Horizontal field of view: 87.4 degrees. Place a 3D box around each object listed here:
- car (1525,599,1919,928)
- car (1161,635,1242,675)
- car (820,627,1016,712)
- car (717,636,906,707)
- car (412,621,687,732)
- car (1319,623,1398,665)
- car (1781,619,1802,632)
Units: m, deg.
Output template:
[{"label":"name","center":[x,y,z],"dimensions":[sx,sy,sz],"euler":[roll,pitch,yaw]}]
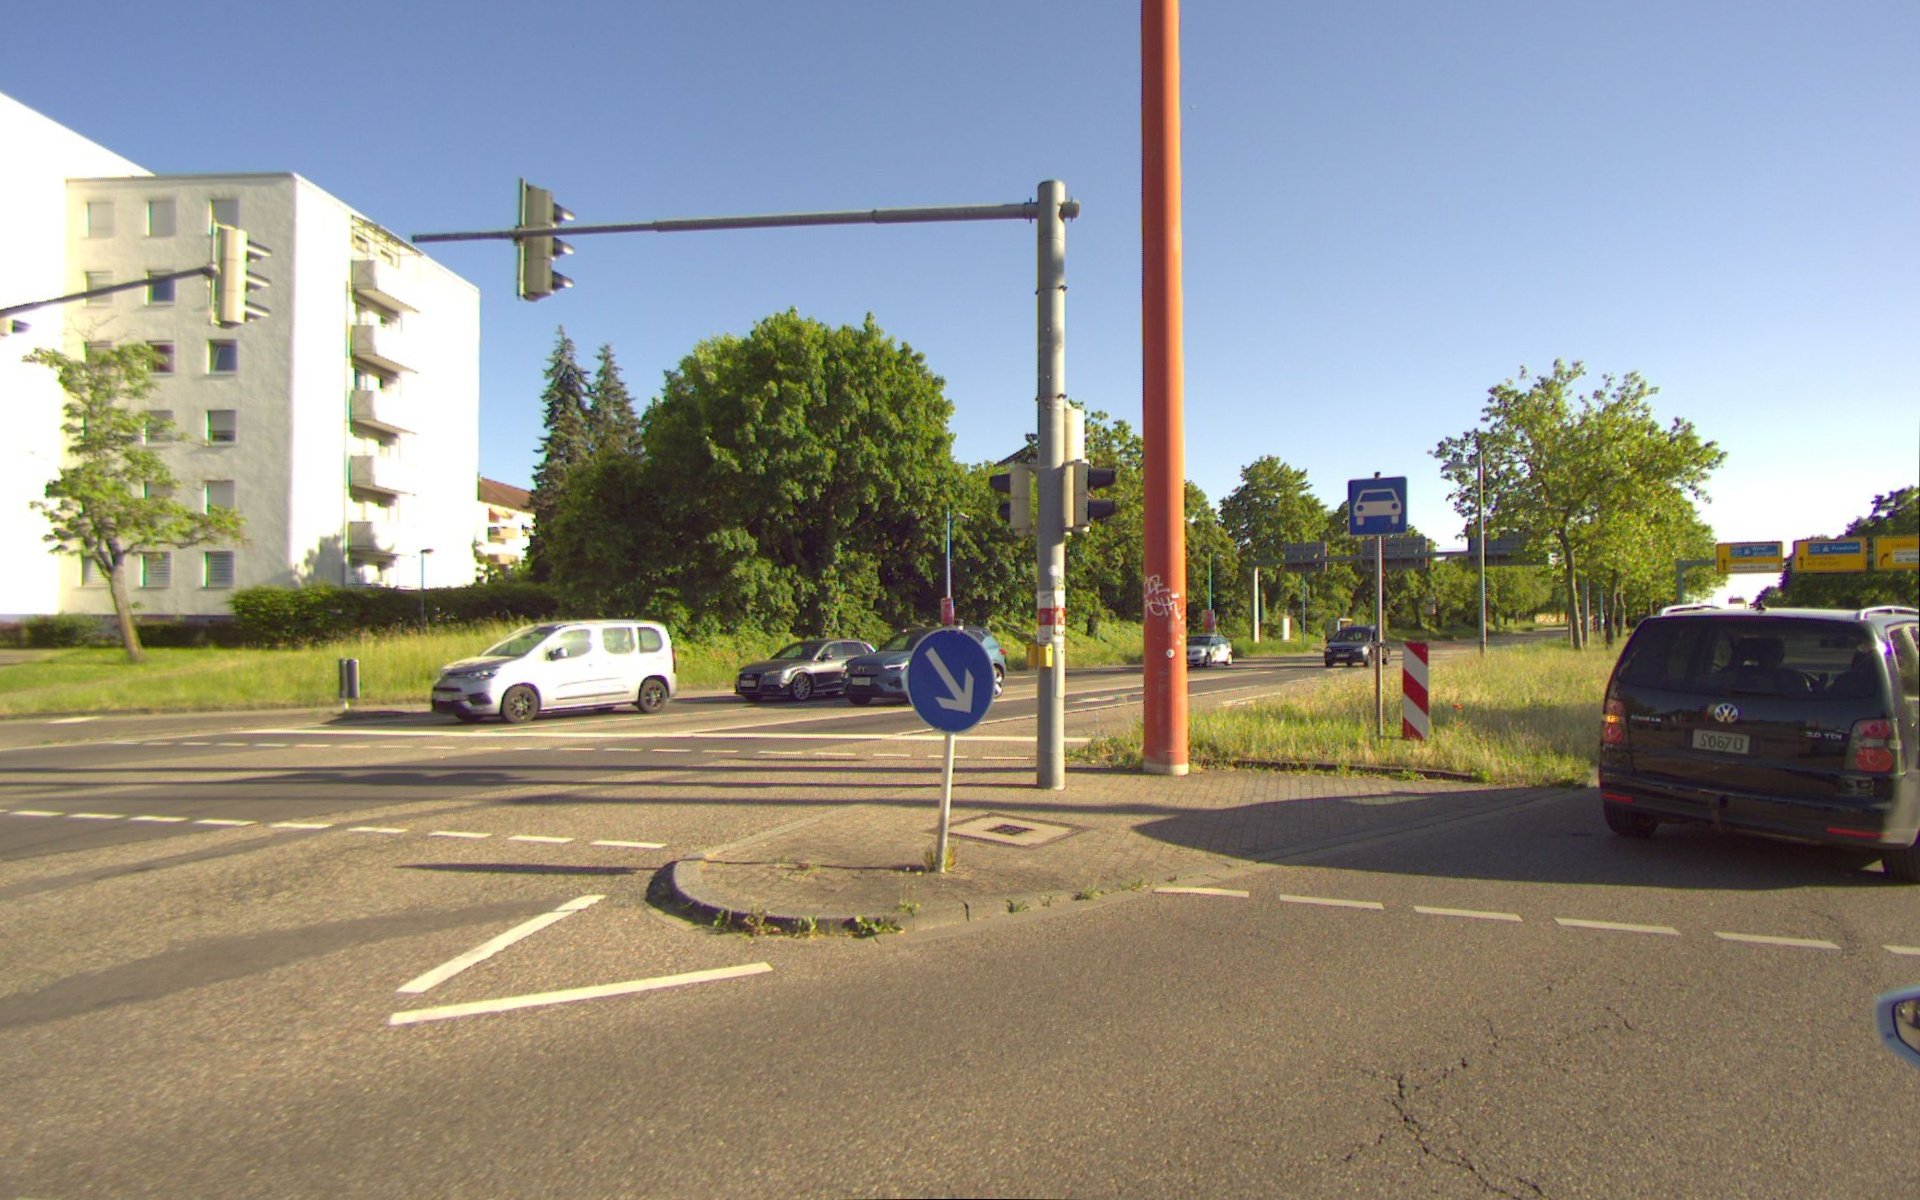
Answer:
[{"label":"car","center":[6.157,0.865,7.254],"dimensions":[4.875,1.666,1.756],"euler":[1,-1,-36]},{"label":"car","center":[10.733,2.405,44.388],"dimensions":[1.874,1.631,4.550],"euler":[-3,-3,35]},{"label":"car","center":[-0.795,1.442,21.911],"dimensions":[1.874,1.631,4.550],"euler":[-3,-3,35]},{"label":"car","center":[-3.469,1.660,24.246],"dimensions":[1.874,1.493,4.550],"euler":[-3,-3,35]},{"label":"car","center":[-7.461,1.333,18.684],"dimensions":[1.874,1.798,4.432],"euler":[-3,-3,35]},{"label":"car","center":[15.991,1.739,40.174],"dimensions":[1.874,1.585,4.550],"euler":[-3,-3,35]},{"label":"car","center":[99.724,3.051,120.541],"dimensions":[1.745,1.483,4.349],"euler":[-1,-1,37]}]
